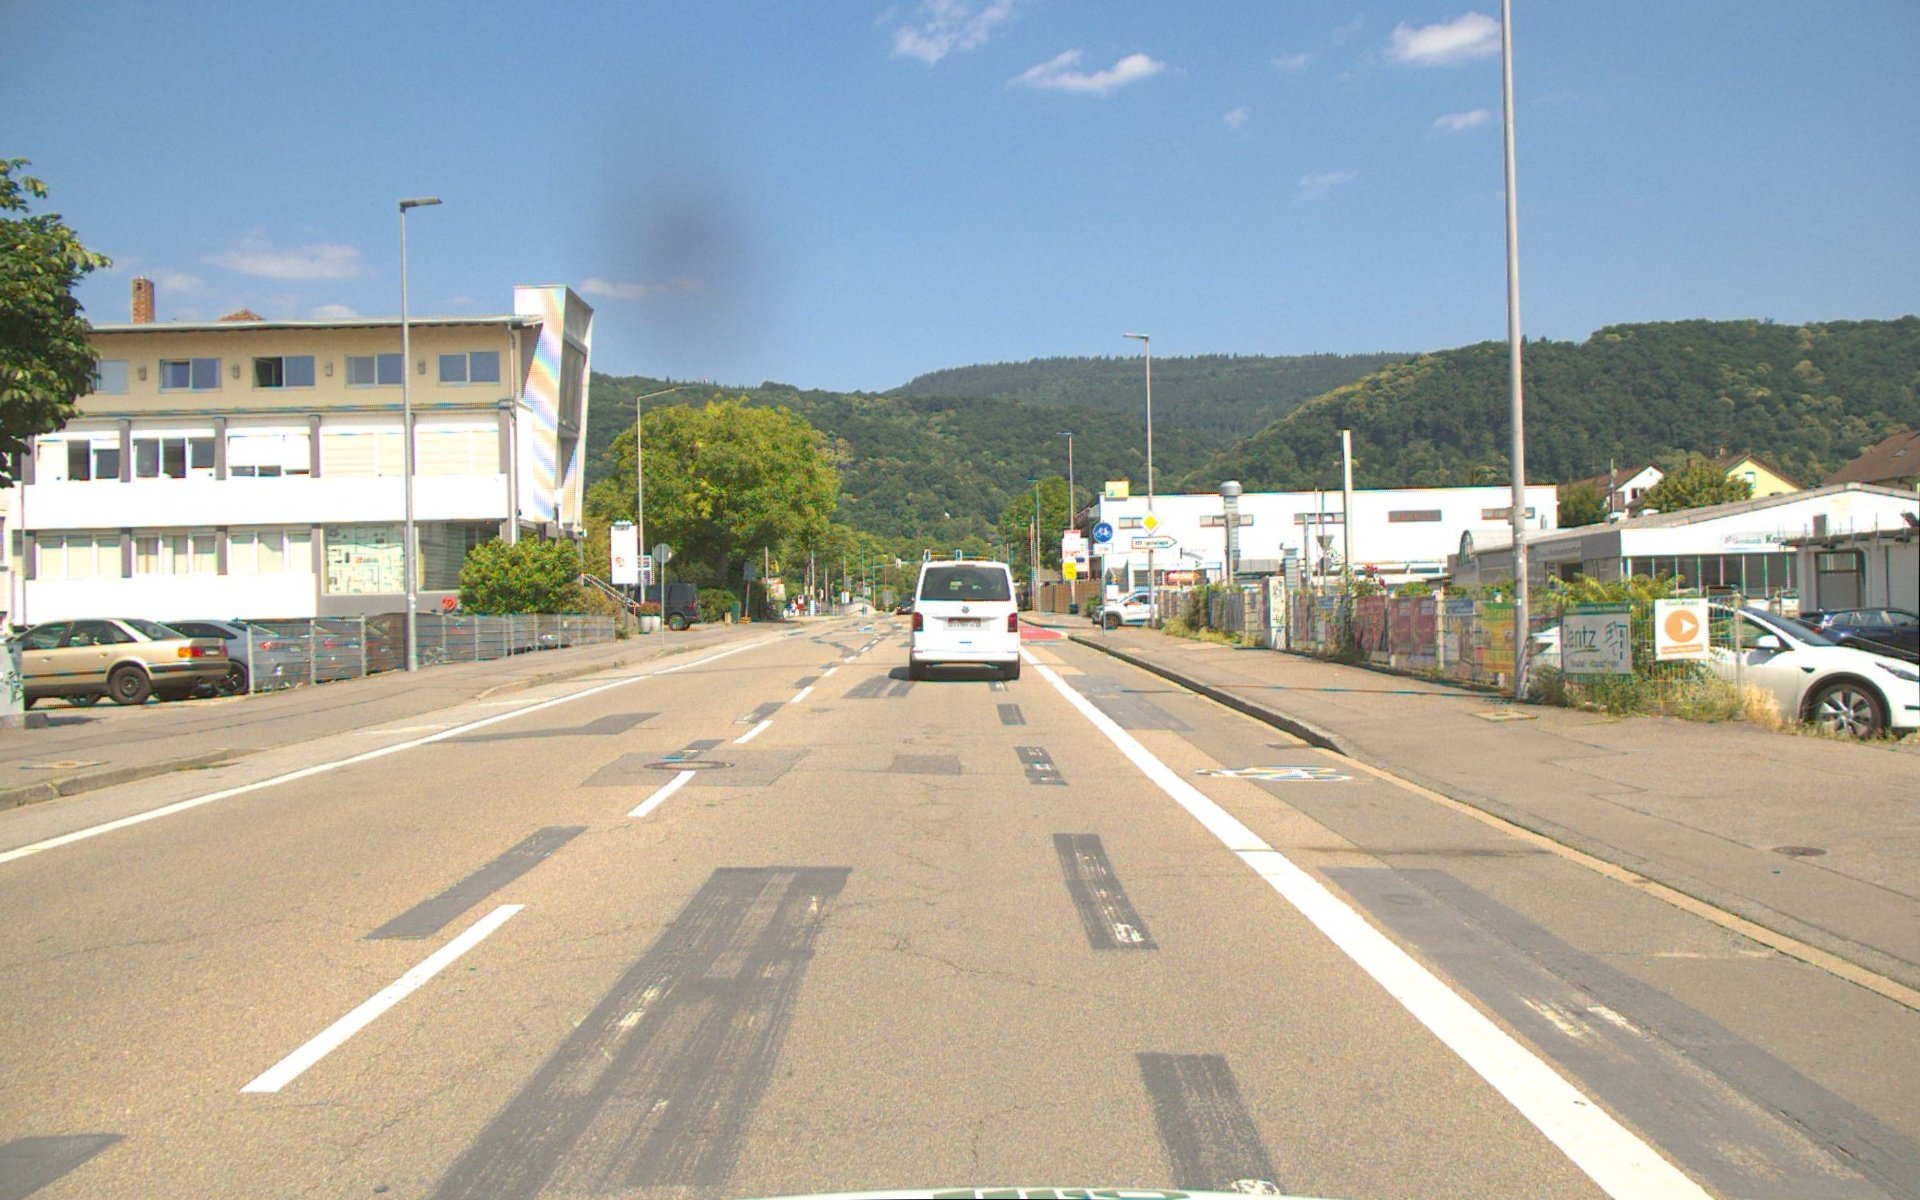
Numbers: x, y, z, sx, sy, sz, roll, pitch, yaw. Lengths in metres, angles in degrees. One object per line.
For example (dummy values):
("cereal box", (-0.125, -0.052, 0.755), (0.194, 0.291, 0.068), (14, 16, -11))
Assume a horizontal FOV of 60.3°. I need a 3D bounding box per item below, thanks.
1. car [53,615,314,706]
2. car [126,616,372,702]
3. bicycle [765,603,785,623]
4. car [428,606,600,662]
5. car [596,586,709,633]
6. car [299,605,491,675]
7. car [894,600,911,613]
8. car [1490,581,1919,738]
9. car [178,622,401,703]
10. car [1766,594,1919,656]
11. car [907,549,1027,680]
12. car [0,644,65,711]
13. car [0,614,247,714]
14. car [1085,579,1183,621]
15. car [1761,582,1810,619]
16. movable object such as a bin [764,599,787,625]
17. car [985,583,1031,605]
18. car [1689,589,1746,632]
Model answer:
("car", (-14.043, 1.112, 30.116), (3.814, 1.470, 1.821), (2, -3, -5))
("car", (-13.800, 1.159, 32.281), (3.907, 1.469, 1.858), (2, -3, -3))
("bicycle", (-10.983, 0.747, 98.170), (1.006, 1.137, 2.764), (1, 0, -3))
("car", (-13.500, 1.005, 50.301), (4.644, 1.507, 2.047), (-2, 0, -2))
("car", (-12.978, 0.396, 70.078), (4.478, 1.898, 2.090), (-1, 0, -6))
("car", (-14.373, 1.002, 42.249), (4.212, 1.586, 1.993), (-2, 0, -5))
("car", (-6.780, 0.786, 194.702), (1.953, 1.394, 4.325), (-2, 0, -2))
("car", (9.136, 0.723, 19.774), (4.957, 1.650, 2.011), (-1, -5, 42))
("car", (-14.121, 1.322, 35.003), (3.909, 1.516, 1.857), (2, -3, -4))
("car", (22.496, 0.595, 40.730), (4.238, 1.422, 2.120), (-1, 0, 3))
("car", (0.040, 0.237, 29.124), (1.896, 2.096, 4.542), (1, 0, -2))
("car", (-24.518, 1.924, 40.721), (3.907, 1.573, 1.858), (-1, 0, -2))
("car", (-14.495, 1.061, 27.489), (4.433, 1.483, 1.899), (-2, 0, -3))
("car", (6.587, -0.005, 62.859), (3.589, 1.510, 1.728), (-1, 0, 2))
("car", (34.915, 0.046, 69.881), (1.754, 1.490, 3.819), (0, -1, 28))
("movable object such as a bin", (-12.014, 0.765, 107.624), (1.421, 1.618, 1.304), (-2, 0, -9))
("car", (4.305, -0.555, 148.718), (3.903, 1.806, 2.001), (-2, 0, 6))
("car", (31.857, 0.416, 69.502), (1.956, 1.676, 3.994), (0, 1, 28))
